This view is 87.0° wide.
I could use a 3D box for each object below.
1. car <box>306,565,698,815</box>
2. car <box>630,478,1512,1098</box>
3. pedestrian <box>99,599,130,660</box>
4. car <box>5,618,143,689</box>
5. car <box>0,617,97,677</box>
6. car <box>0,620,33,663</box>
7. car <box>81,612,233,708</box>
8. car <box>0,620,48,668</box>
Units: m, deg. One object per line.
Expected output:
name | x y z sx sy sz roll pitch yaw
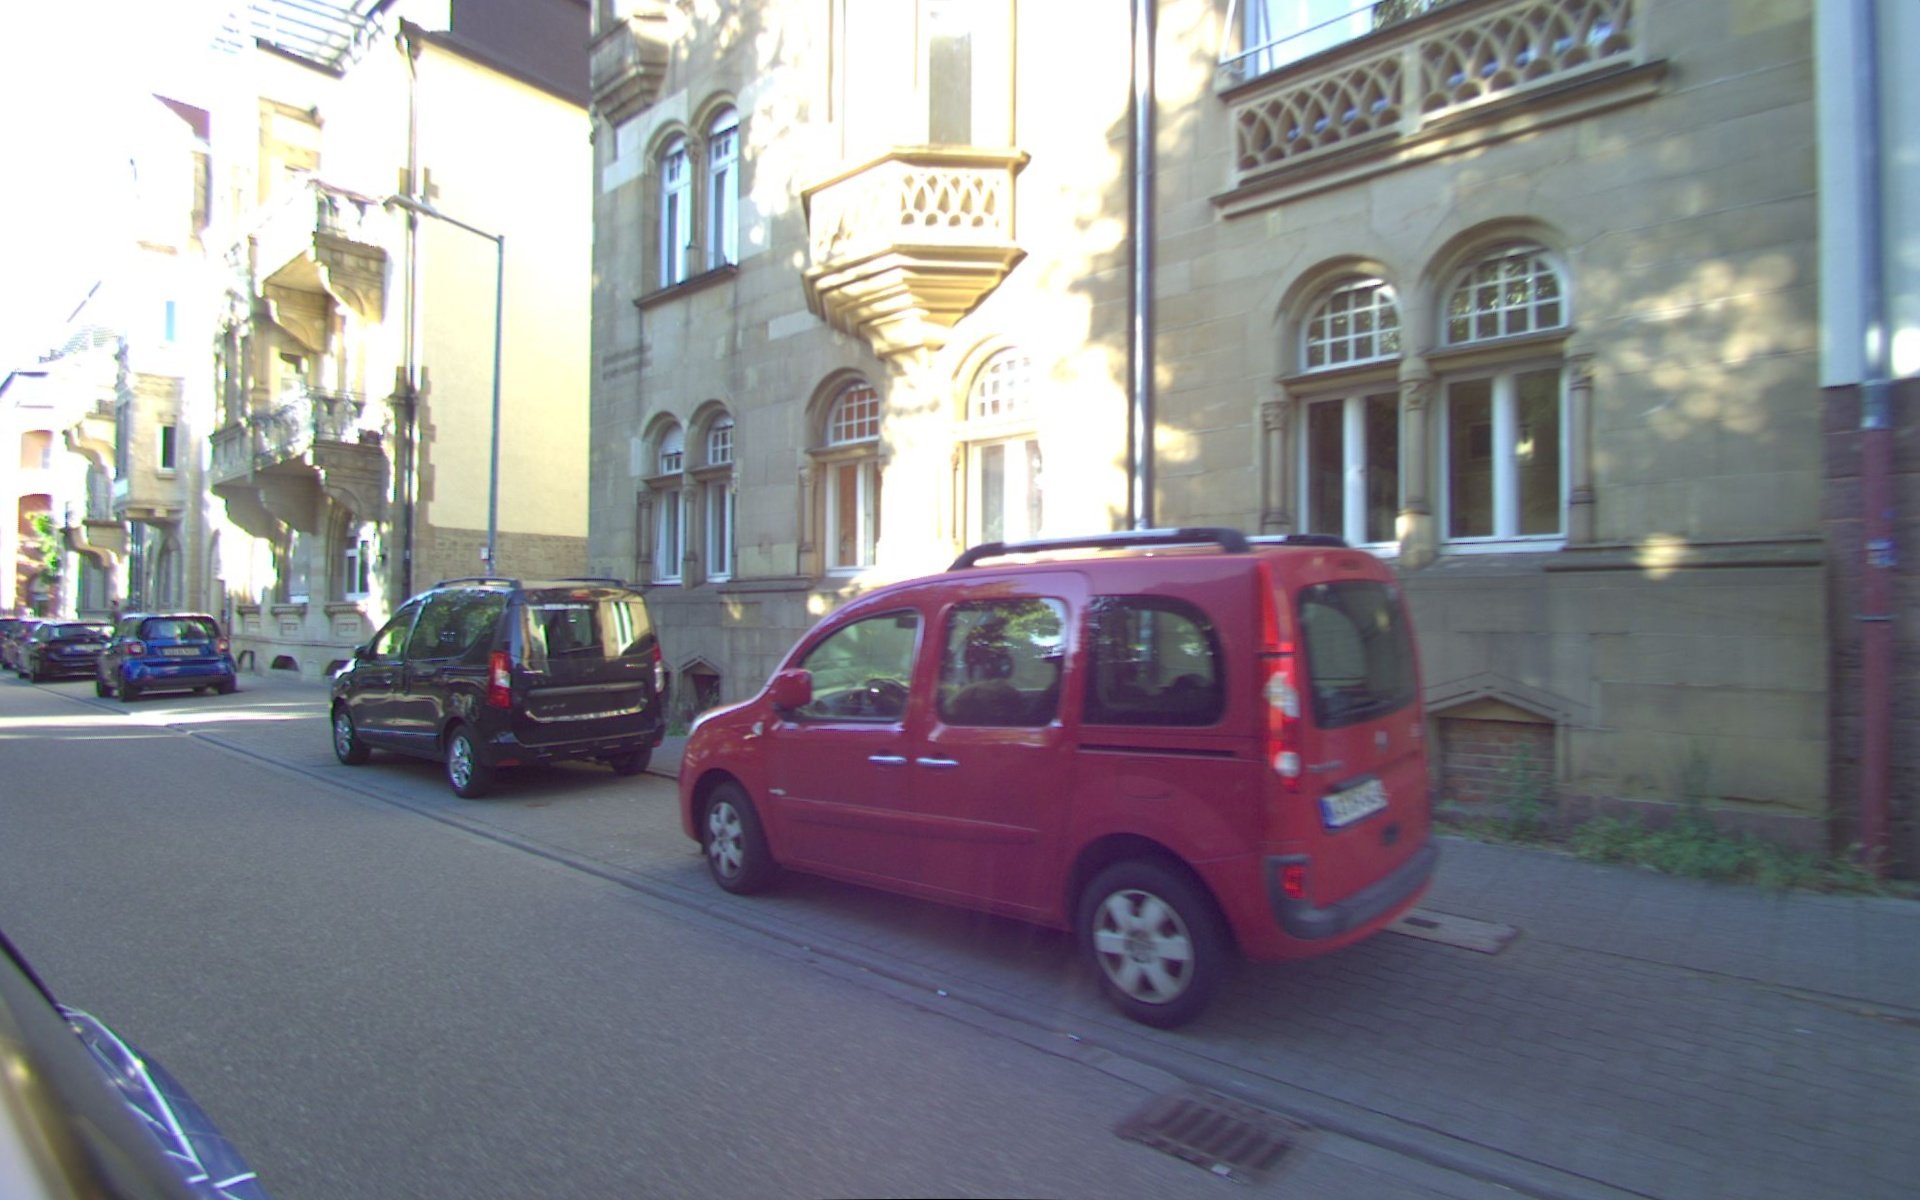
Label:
car | -4.564 0.715 9.731 4.540 1.866 1.751 -1 -1 42
car | 0.239 0.607 5.254 4.323 1.921 1.779 -1 -1 42
pedestrian | -26.230 0.916 31.385 0.497 1.861 0.685 -1 -1 43
car | -21.405 1.222 24.383 4.539 1.449 1.881 -1 1 41
car | -25.760 1.278 28.382 3.770 1.477 1.673 -1 2 39
car | -35.574 1.536 36.976 4.506 1.468 1.870 -2 1 39
car | -14.681 1.033 18.464 2.860 1.520 1.666 -1 1 42
car | -31.142 1.397 32.995 3.997 1.477 1.724 -1 -1 42
